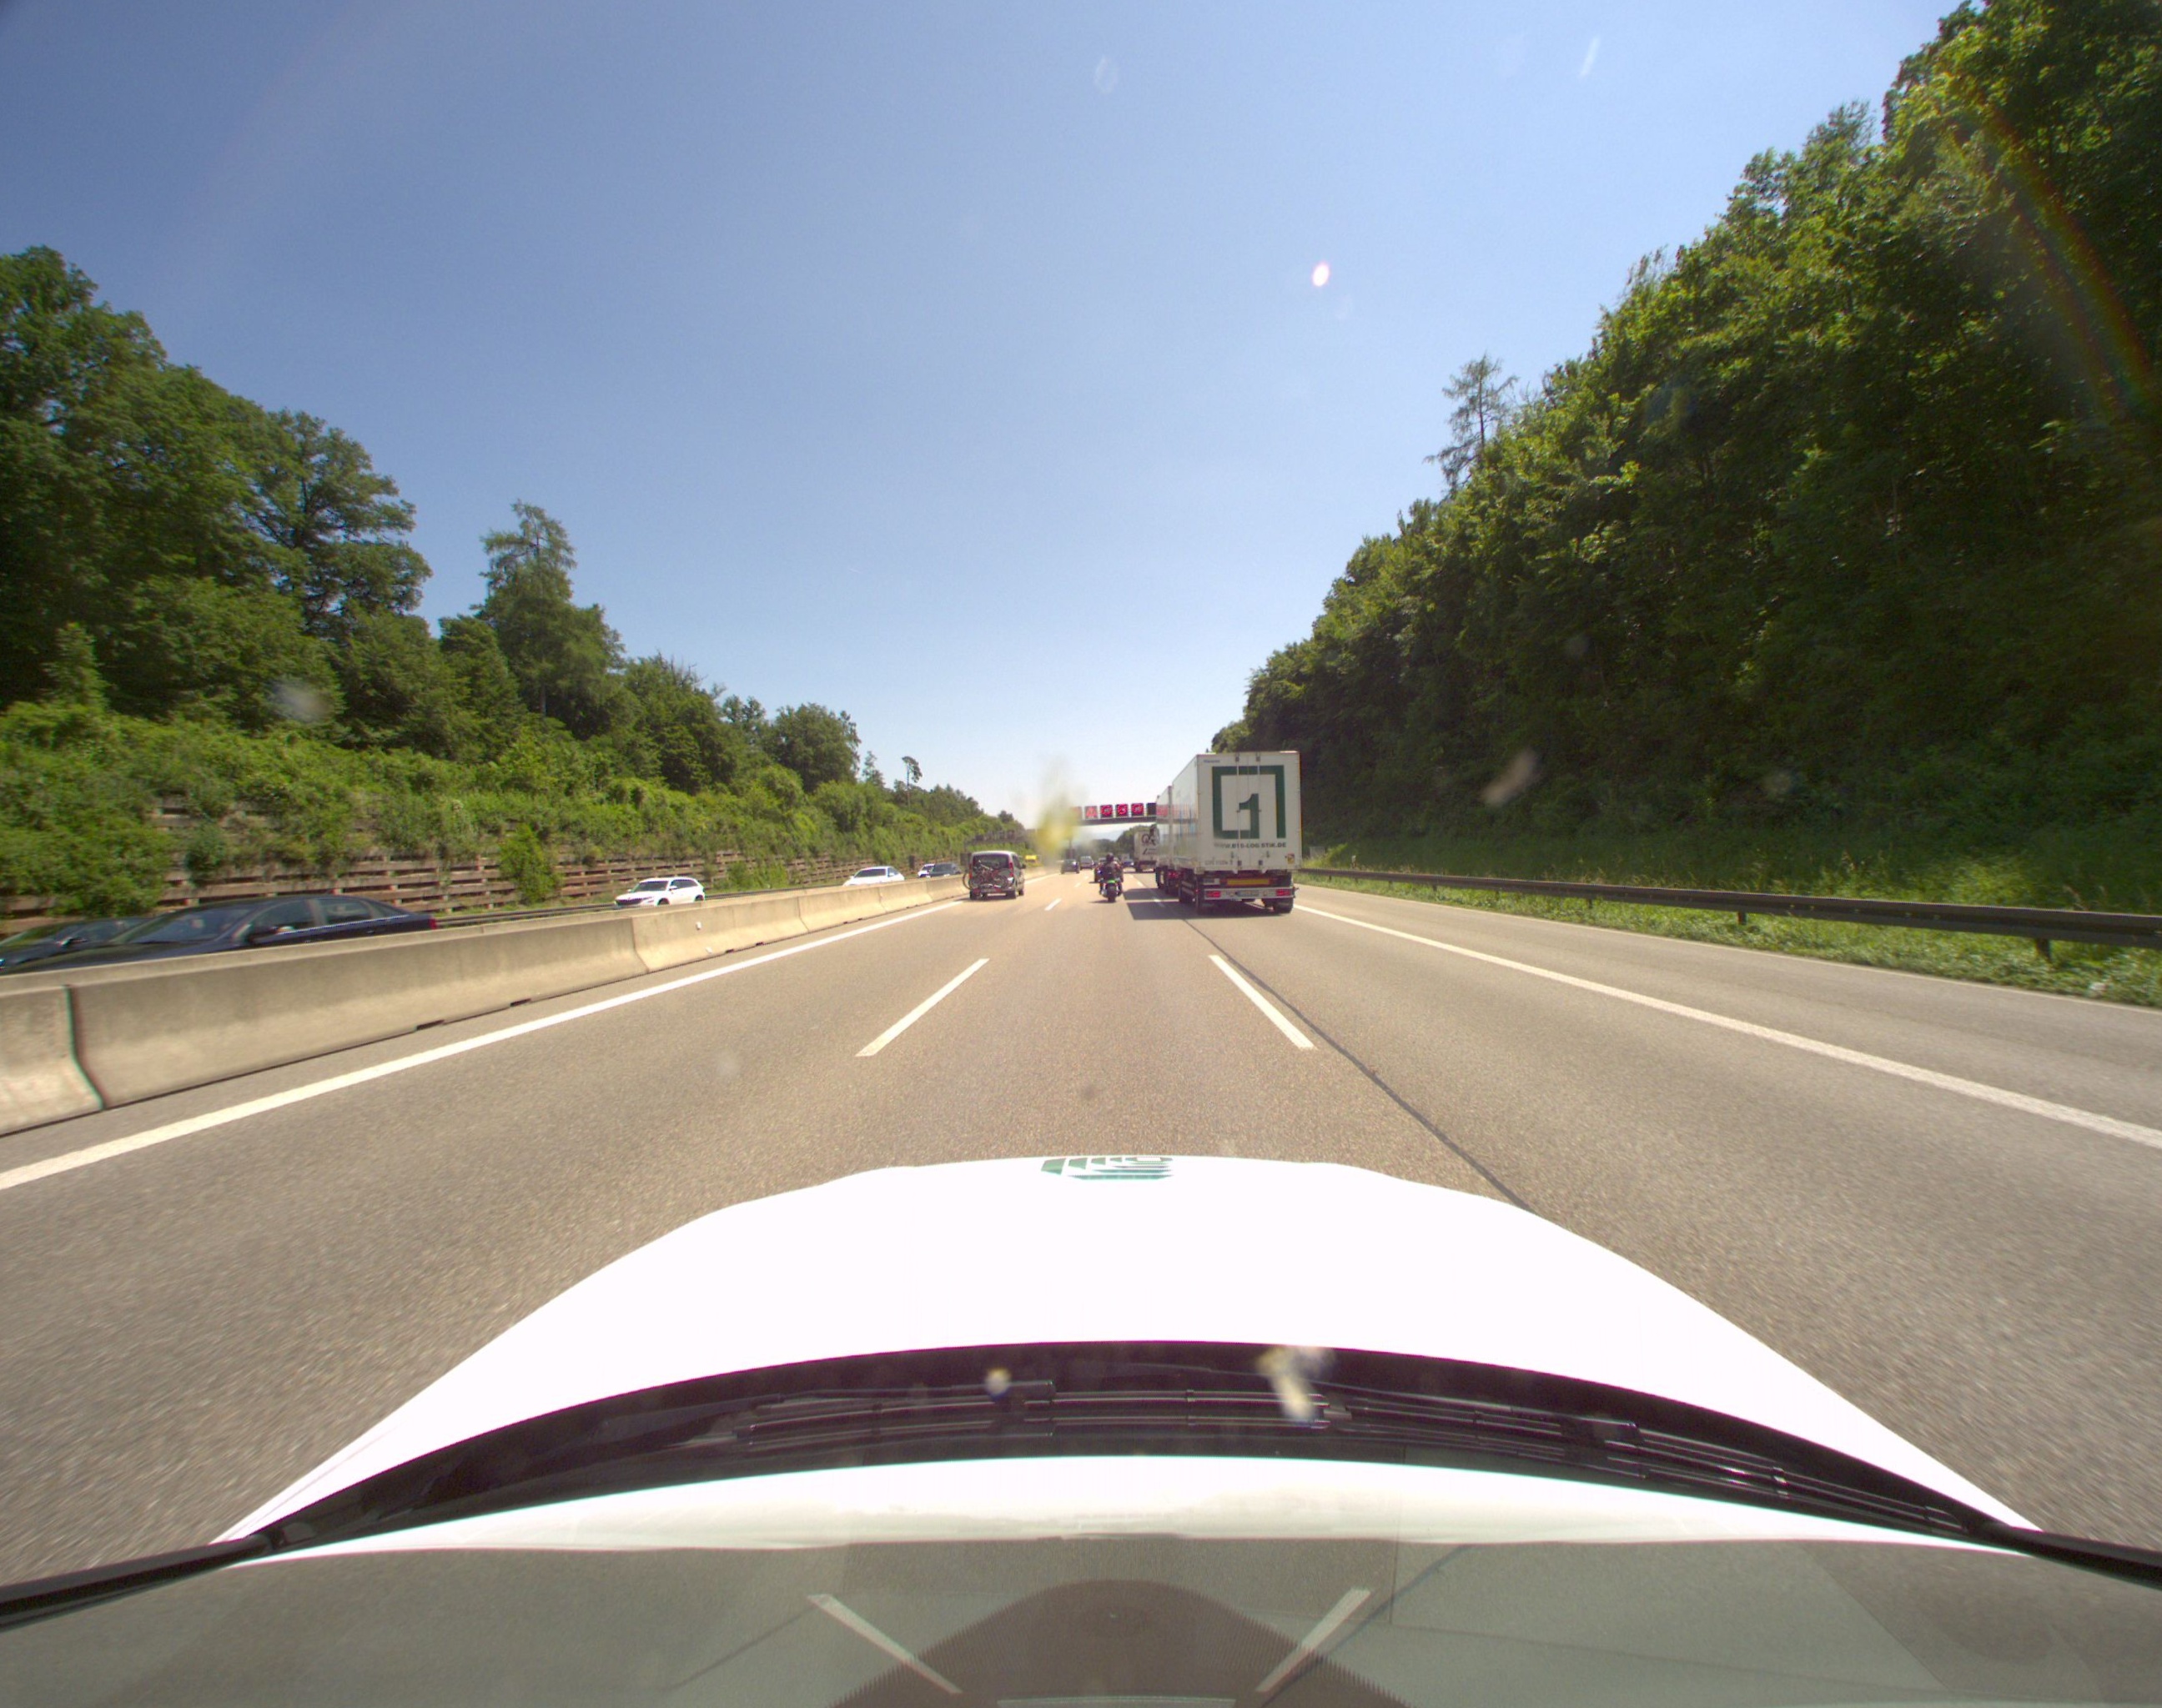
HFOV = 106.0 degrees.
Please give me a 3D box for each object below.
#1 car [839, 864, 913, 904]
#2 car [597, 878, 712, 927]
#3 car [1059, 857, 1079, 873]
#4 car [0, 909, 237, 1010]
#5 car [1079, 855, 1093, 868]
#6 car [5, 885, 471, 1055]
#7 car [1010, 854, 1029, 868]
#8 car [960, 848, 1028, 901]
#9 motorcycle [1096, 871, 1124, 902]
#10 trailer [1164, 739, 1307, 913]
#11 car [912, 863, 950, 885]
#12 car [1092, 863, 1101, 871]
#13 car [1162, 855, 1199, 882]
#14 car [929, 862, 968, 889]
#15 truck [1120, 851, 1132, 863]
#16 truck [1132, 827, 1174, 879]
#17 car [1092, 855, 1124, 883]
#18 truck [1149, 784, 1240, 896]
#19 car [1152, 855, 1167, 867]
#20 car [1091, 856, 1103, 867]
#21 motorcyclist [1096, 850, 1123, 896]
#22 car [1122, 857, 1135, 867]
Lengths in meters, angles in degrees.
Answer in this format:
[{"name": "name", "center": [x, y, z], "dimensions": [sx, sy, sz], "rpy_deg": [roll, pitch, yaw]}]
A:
[{"name": "car", "center": [-9.636, 1.364, 38.684], "dimensions": [1.932, 1.605, 5.228], "rpy_deg": [-4, 0, 2]}, {"name": "car", "center": [-17.253, 1.902, 33.261], "dimensions": [1.932, 1.605, 4.862], "rpy_deg": [-4, 0, 2]}, {"name": "car", "center": [-1.180, 1.142, 83.252], "dimensions": [1.751, 1.544, 4.397], "rpy_deg": [-1, 0, 2]}, {"name": "car", "center": [-21.209, 2.179, 17.198], "dimensions": [1.932, 1.605, 4.466], "rpy_deg": [-4, 0, 2]}, {"name": "car", "center": [0.683, 1.072, 115.264], "dimensions": [1.824, 1.810, 4.121], "rpy_deg": [-1, 0, 2]}, {"name": "car", "center": [-10.865, 1.356, 11.082], "dimensions": [1.725, 1.605, 4.283], "rpy_deg": [-4, 0, 2]}, {"name": "car", "center": [-7.517, 0.825, 99.929], "dimensions": [1.740, 1.605, 4.060], "rpy_deg": [-4, 0, 2]}, {"name": "car", "center": [-3.310, 0.778, 32.057], "dimensions": [1.891, 1.848, 5.485], "rpy_deg": [-1, -1, 2]}, {"name": "motorcycle", "center": [0.997, 1.080, 27.649], "dimensions": [0.859, 0.982, 2.132], "rpy_deg": [-2, -1, 3]}, {"name": "trailer", "center": [4.287, -0.653, 24.891], "dimensions": [2.670, 4.176, 10.069], "rpy_deg": [-1, -1, 2]}, {"name": "car", "center": [-12.661, 1.635, 68.966], "dimensions": [1.876, 1.637, 5.651], "rpy_deg": [-4, 0, 2]}, {"name": "car", "center": [3.485, 2.930, 182.220], "dimensions": [1.824, 1.810, 4.121], "rpy_deg": [-1, 0, 2]}, {"name": "car", "center": [6.048, 0.835, 49.815], "dimensions": [1.838, 1.557, 4.394], "rpy_deg": [-1, 0, 2]}, {"name": "car", "center": [-8.905, 1.406, 55.022], "dimensions": [1.746, 1.637, 4.305], "rpy_deg": [-4, 0, 2]}, {"name": "truck", "center": [13.079, 0.887, 237.407], "dimensions": [3.055, 3.346, 9.656], "rpy_deg": [0, -1, 2]}, {"name": "truck", "center": [7.050, 0.011, 82.741], "dimensions": [3.370, 4.718, 17.716], "rpy_deg": [0, 0, 2]}, {"name": "car", "center": [1.670, 0.882, 49.685], "dimensions": [1.838, 1.557, 4.441], "rpy_deg": [-1, 0, 2]}, {"name": "truck", "center": [4.610, -0.471, 35.240], "dimensions": [2.670, 4.059, 10.629], "rpy_deg": [-1, -1, 2]}, {"name": "car", "center": [11.142, 0.981, 115.248], "dimensions": [1.824, 1.527, 4.029], "rpy_deg": [-1, 0, 2]}, {"name": "car", "center": [2.731, 1.297, 136.645], "dimensions": [1.824, 1.810, 4.121], "rpy_deg": [-1, 0, 2]}, {"name": "motorcyclist", "center": [0.989, 0.645, 27.664], "dimensions": [0.852, 1.515, 0.914], "rpy_deg": [-2, -1, 3]}, {"name": "car", "center": [7.242, 1.210, 124.346], "dimensions": [1.824, 1.527, 4.029], "rpy_deg": [-1, 0, 2]}]
